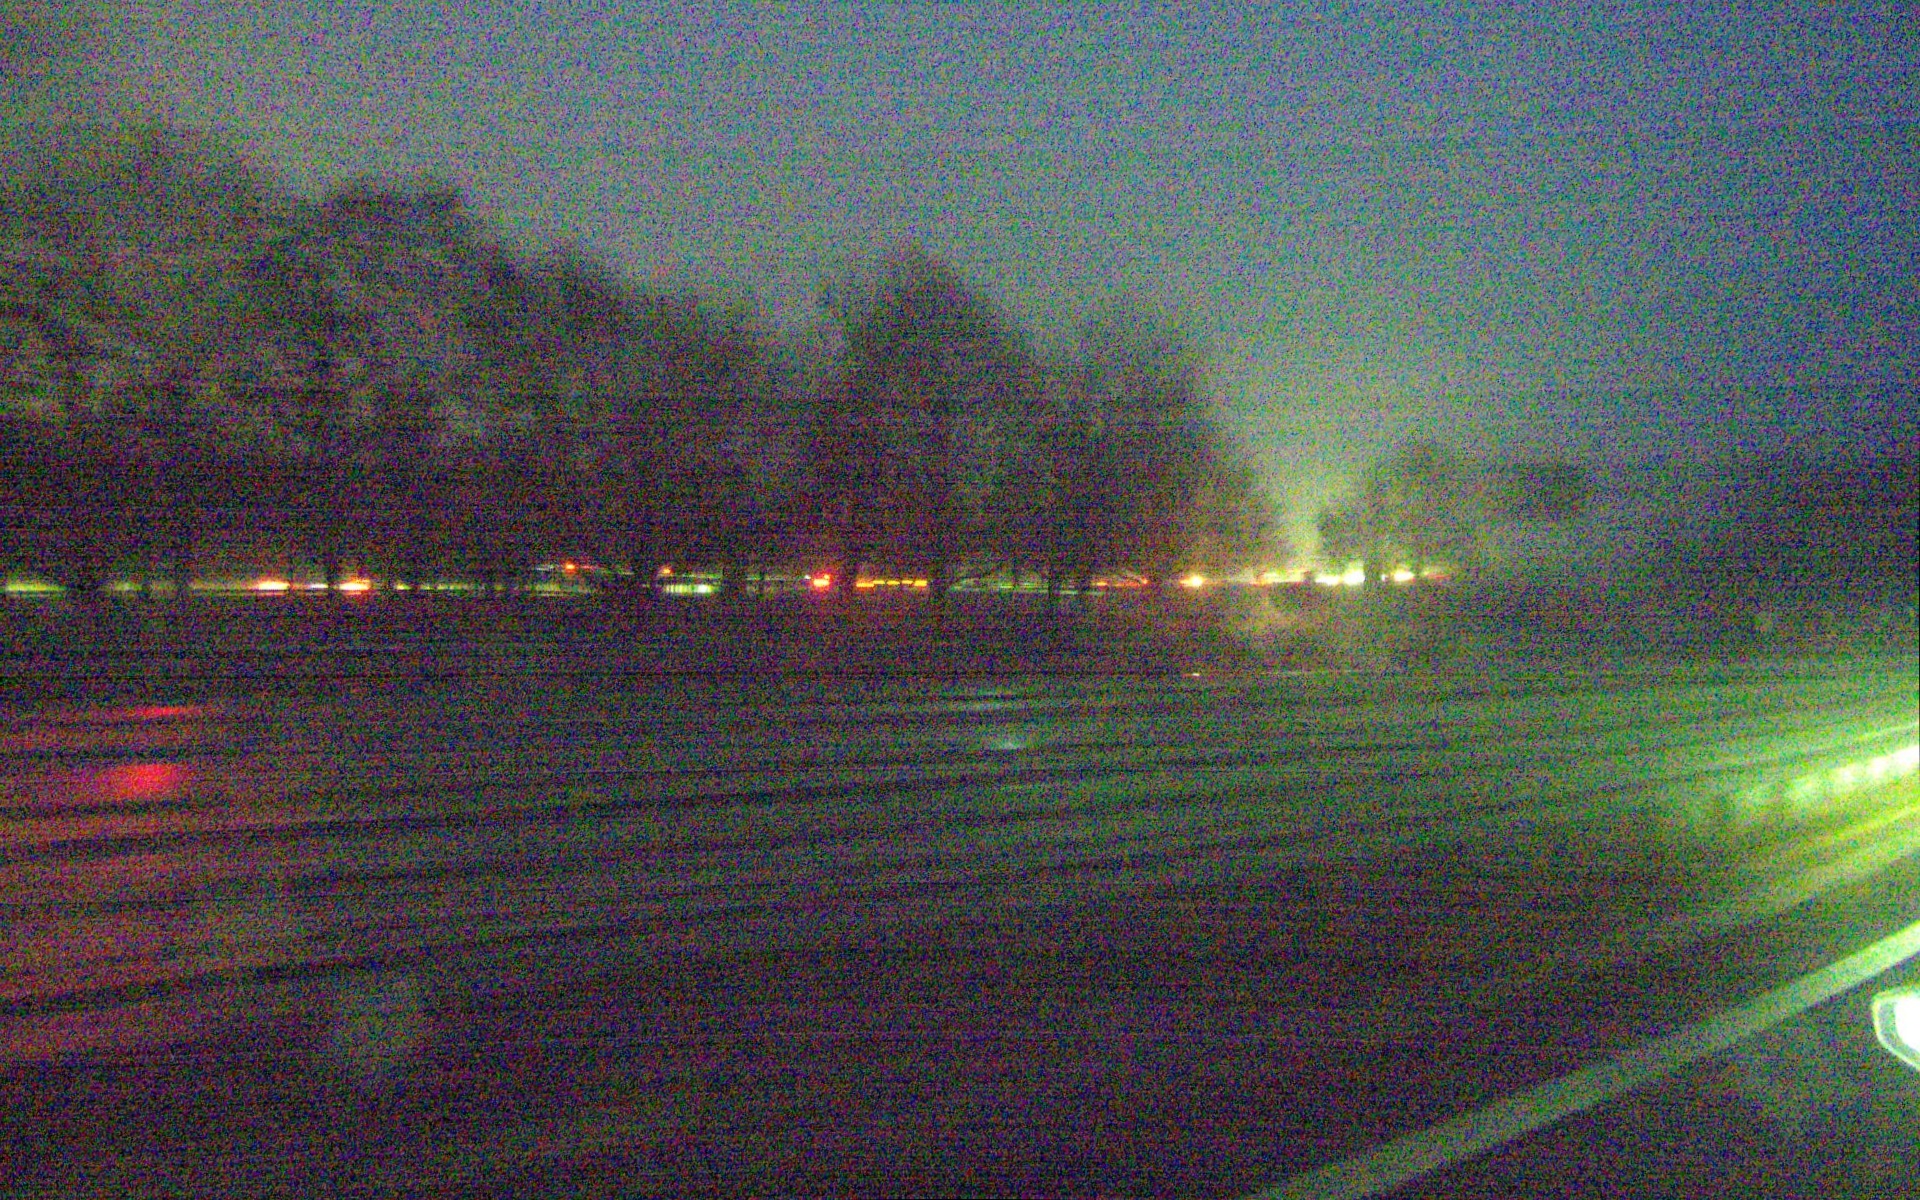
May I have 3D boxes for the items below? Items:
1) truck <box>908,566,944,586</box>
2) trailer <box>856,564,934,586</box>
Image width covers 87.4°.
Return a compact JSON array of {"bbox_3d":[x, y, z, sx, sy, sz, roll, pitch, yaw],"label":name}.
[{"bbox_3d":[-5.036,-3.567,150.140,2.649,2.726,4.727,5,3,45],"label":"truck"},{"bbox_3d":[-9.291,-3.571,145.794,2.659,2.736,12.776,5,3,44],"label":"trailer"}]
